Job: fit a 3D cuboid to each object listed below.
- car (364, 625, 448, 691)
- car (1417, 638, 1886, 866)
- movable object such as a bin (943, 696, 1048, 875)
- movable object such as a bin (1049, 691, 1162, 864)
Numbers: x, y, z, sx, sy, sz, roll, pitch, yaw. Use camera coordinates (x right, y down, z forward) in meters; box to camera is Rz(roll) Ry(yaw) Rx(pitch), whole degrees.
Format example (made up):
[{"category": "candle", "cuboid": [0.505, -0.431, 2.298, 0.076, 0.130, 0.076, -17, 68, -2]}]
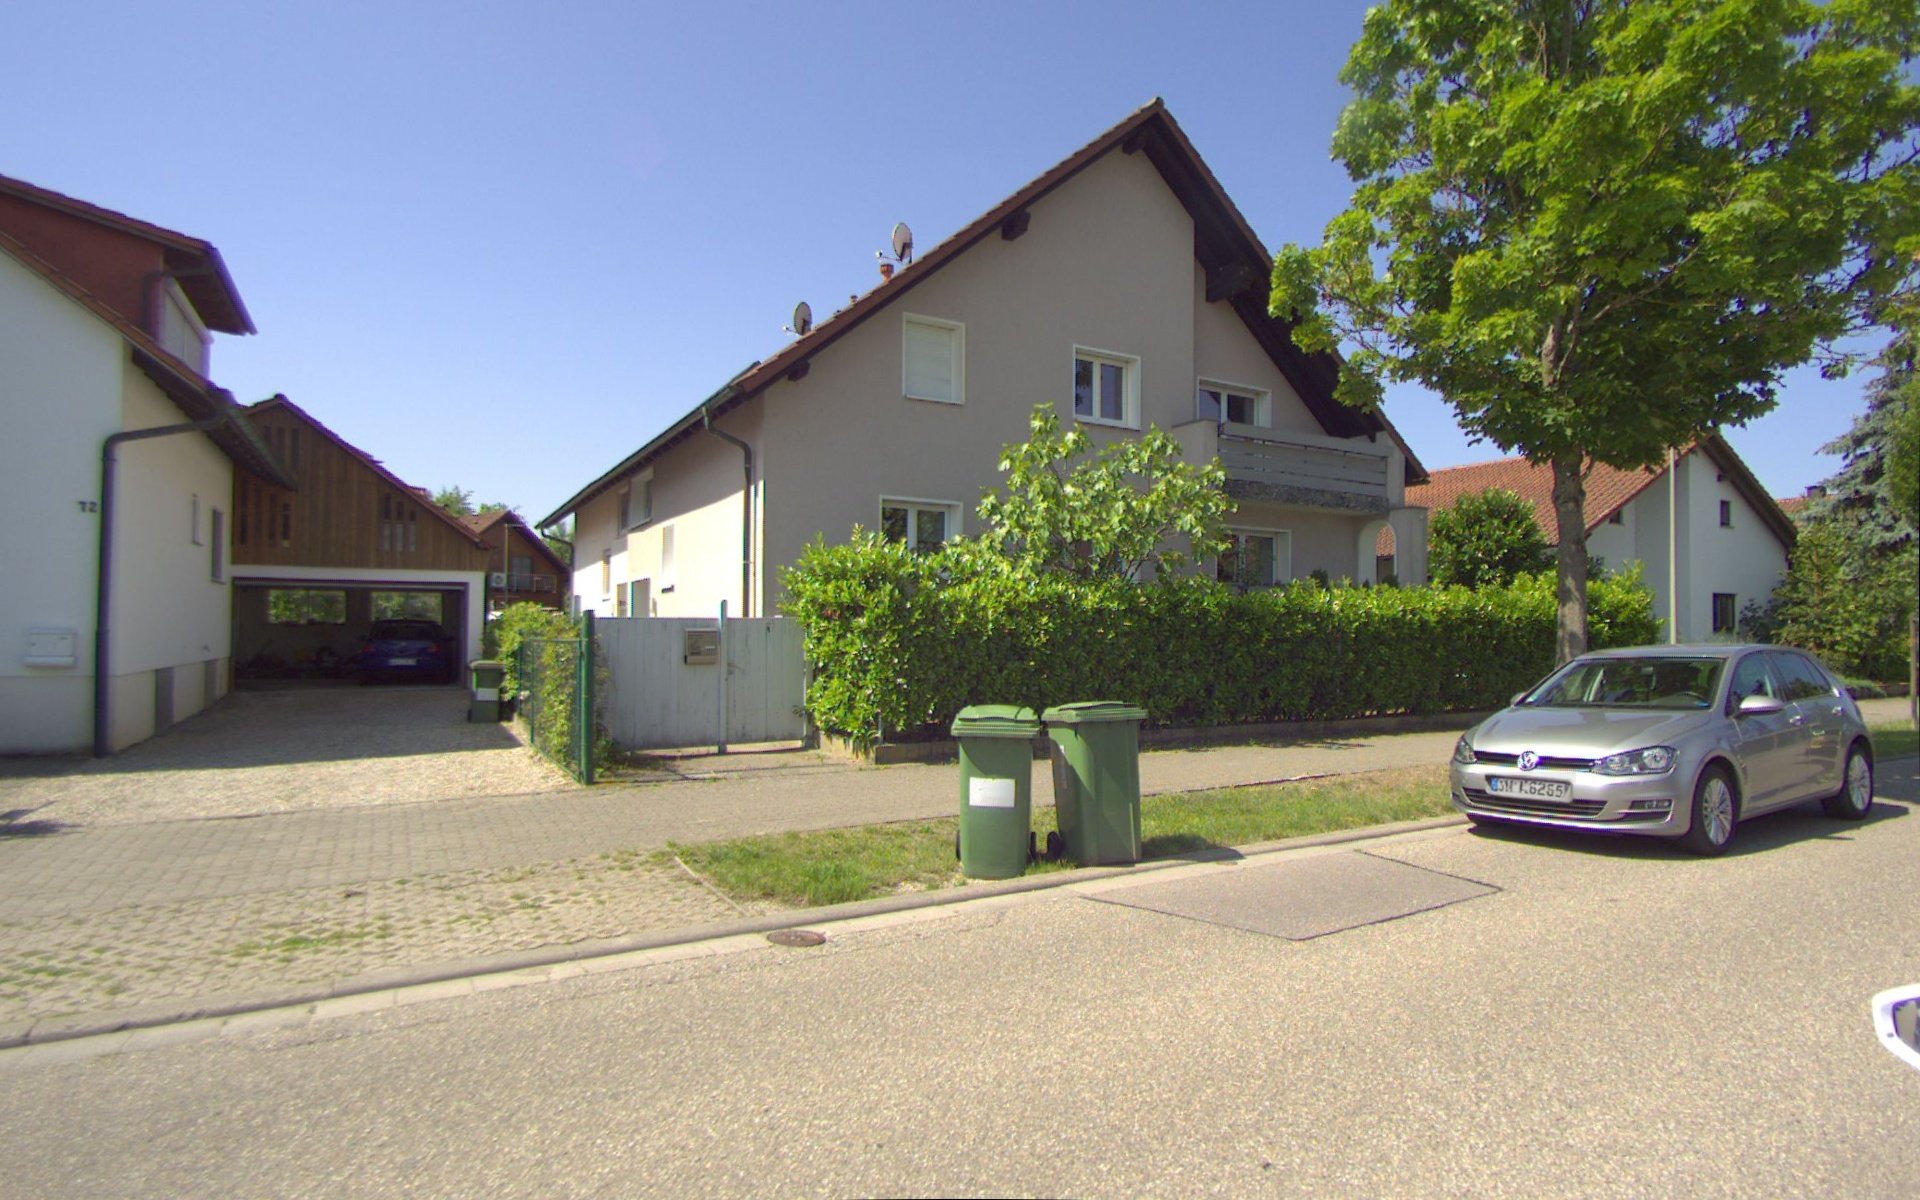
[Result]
[{"category": "car", "cuboid": [-12.345, 1.242, 22.397, 1.517, 1.342, 3.041, 1, -1, -29]}, {"category": "car", "cuboid": [5.700, 1.061, 8.167, 4.035, 1.442, 1.639, 1, -4, -32]}, {"category": "movable object such as a bin", "cuboid": [0.221, 1.213, 6.759, 0.627, 1.093, 0.715, 0, -2, -5]}, {"category": "movable object such as a bin", "cuboid": [0.996, 1.197, 6.950, 0.589, 1.093, 0.575, 1, -2, -17]}]
